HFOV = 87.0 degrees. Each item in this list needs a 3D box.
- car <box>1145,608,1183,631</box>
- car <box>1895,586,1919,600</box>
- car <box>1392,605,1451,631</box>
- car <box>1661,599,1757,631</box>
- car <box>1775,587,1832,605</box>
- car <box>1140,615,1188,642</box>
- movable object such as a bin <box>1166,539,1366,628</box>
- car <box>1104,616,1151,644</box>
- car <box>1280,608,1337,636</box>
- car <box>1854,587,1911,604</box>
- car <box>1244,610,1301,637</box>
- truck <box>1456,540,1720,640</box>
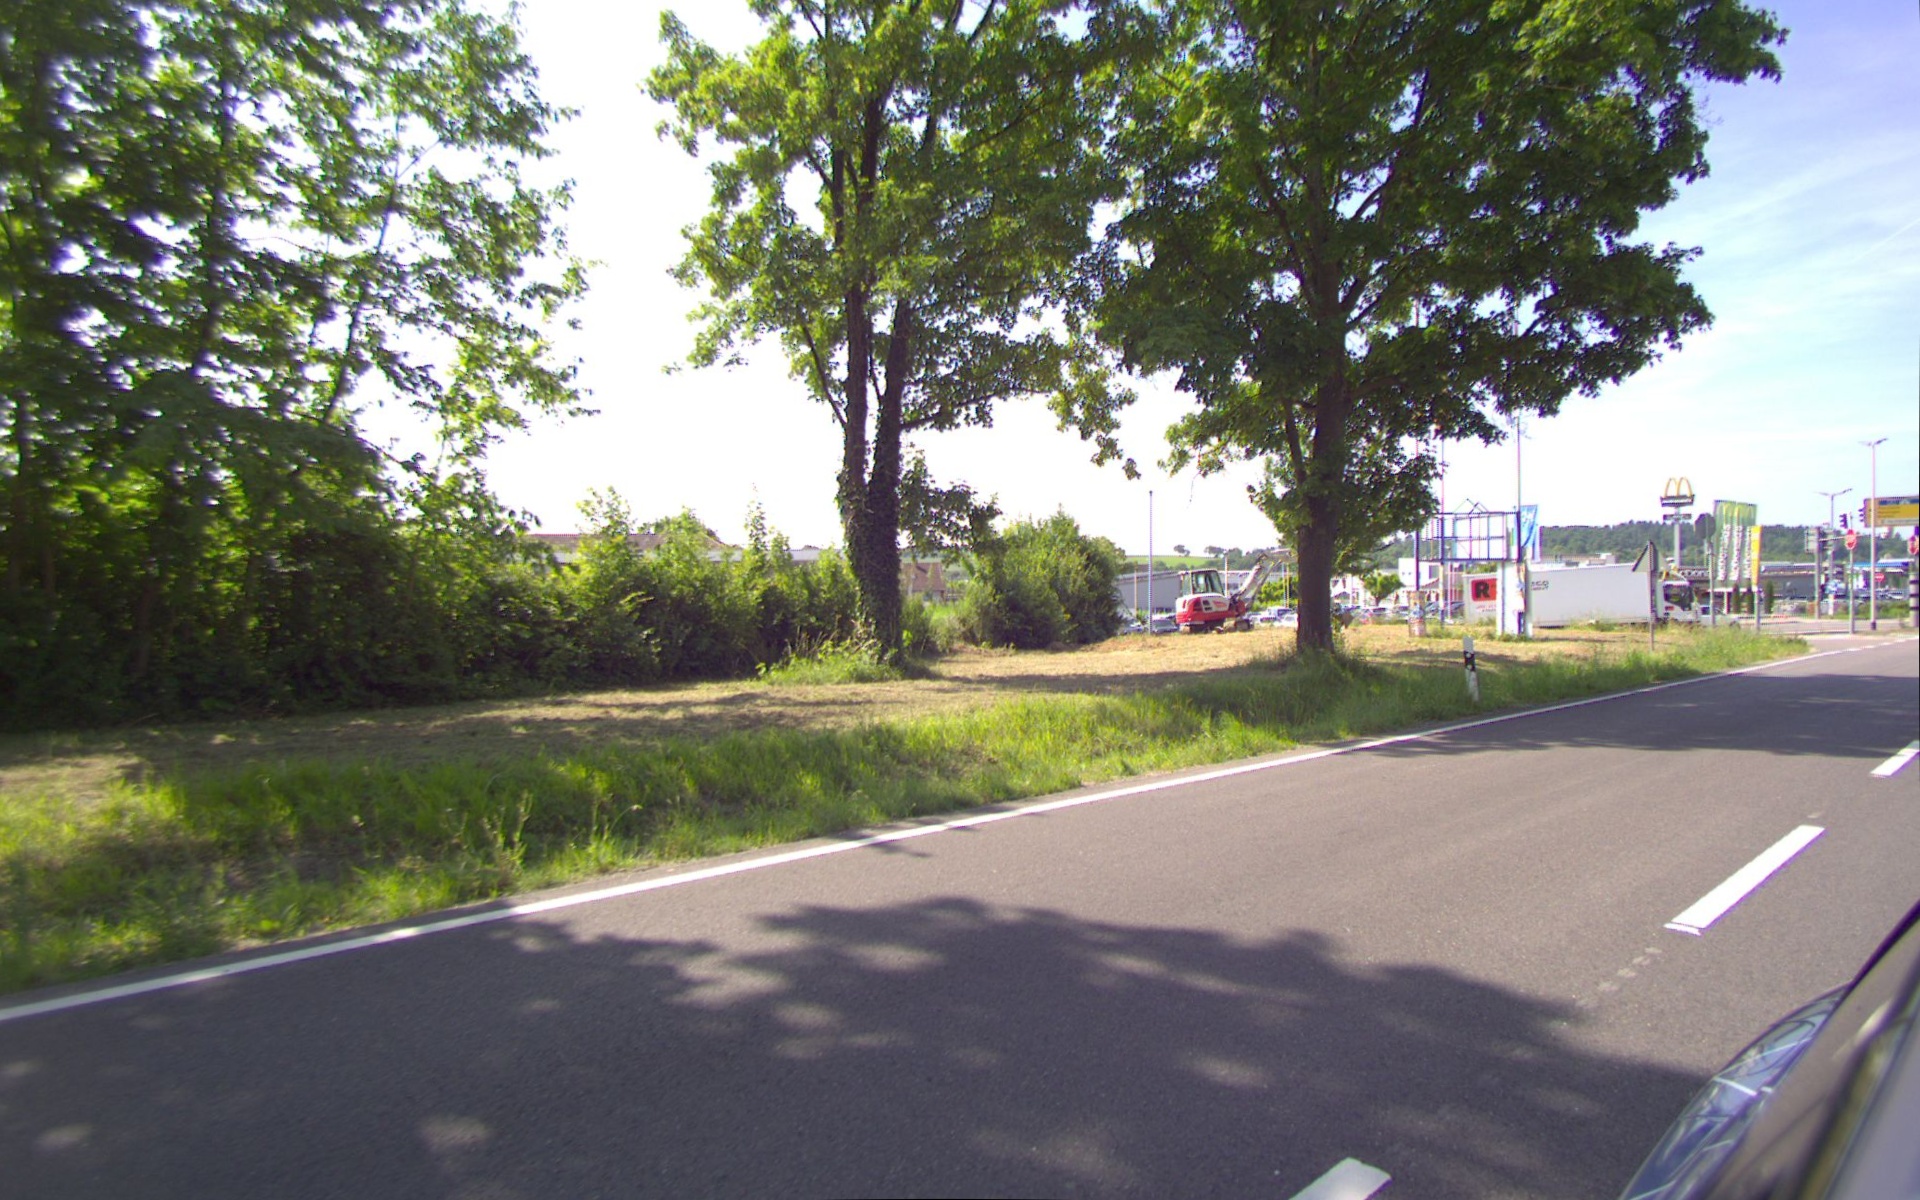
[{"bbox_3d":[15.970,1.519,79.526,1.969,1.638,4.085,0,1,-3],"label":"car"},{"bbox_3d":[116.244,-0.845,124.079,4.630,1.675,1.905,-1,2,-42],"label":"car"},{"bbox_3d":[30.827,1.191,67.678,1.961,1.593,4.003,0,1,-2],"label":"car"},{"bbox_3d":[39.626,0.786,53.578,3.685,1.523,1.711,-3,-1,0],"label":"car"},{"bbox_3d":[82.592,-0.437,99.113,4.088,1.691,1.777,0,1,-2],"label":"car"},{"bbox_3d":[13.550,1.872,67.391,2.049,1.638,4.005,0,1,-6],"label":"car"},{"bbox_3d":[11.458,-0.629,38.328,6.573,3.247,2.903,0,1,-3],"label":"movable object such as a bin"},{"bbox_3d":[11.100,1.946,67.314,2.062,1.638,4.087,0,1,-6],"label":"car"},{"bbox_3d":[23.320,1.463,67.884,1.960,1.638,4.484,0,1,-4],"label":"car"},{"bbox_3d":[96.336,-0.483,105.708,3.942,1.691,1.912,1,1,15],"label":"car"},{"bbox_3d":[20.863,1.549,67.744,2.049,1.638,4.480,0,1,-6],"label":"car"},{"bbox_3d":[28.067,-0.344,45.763,9.631,3.675,2.734,-5,-2,34],"label":"truck"}]
